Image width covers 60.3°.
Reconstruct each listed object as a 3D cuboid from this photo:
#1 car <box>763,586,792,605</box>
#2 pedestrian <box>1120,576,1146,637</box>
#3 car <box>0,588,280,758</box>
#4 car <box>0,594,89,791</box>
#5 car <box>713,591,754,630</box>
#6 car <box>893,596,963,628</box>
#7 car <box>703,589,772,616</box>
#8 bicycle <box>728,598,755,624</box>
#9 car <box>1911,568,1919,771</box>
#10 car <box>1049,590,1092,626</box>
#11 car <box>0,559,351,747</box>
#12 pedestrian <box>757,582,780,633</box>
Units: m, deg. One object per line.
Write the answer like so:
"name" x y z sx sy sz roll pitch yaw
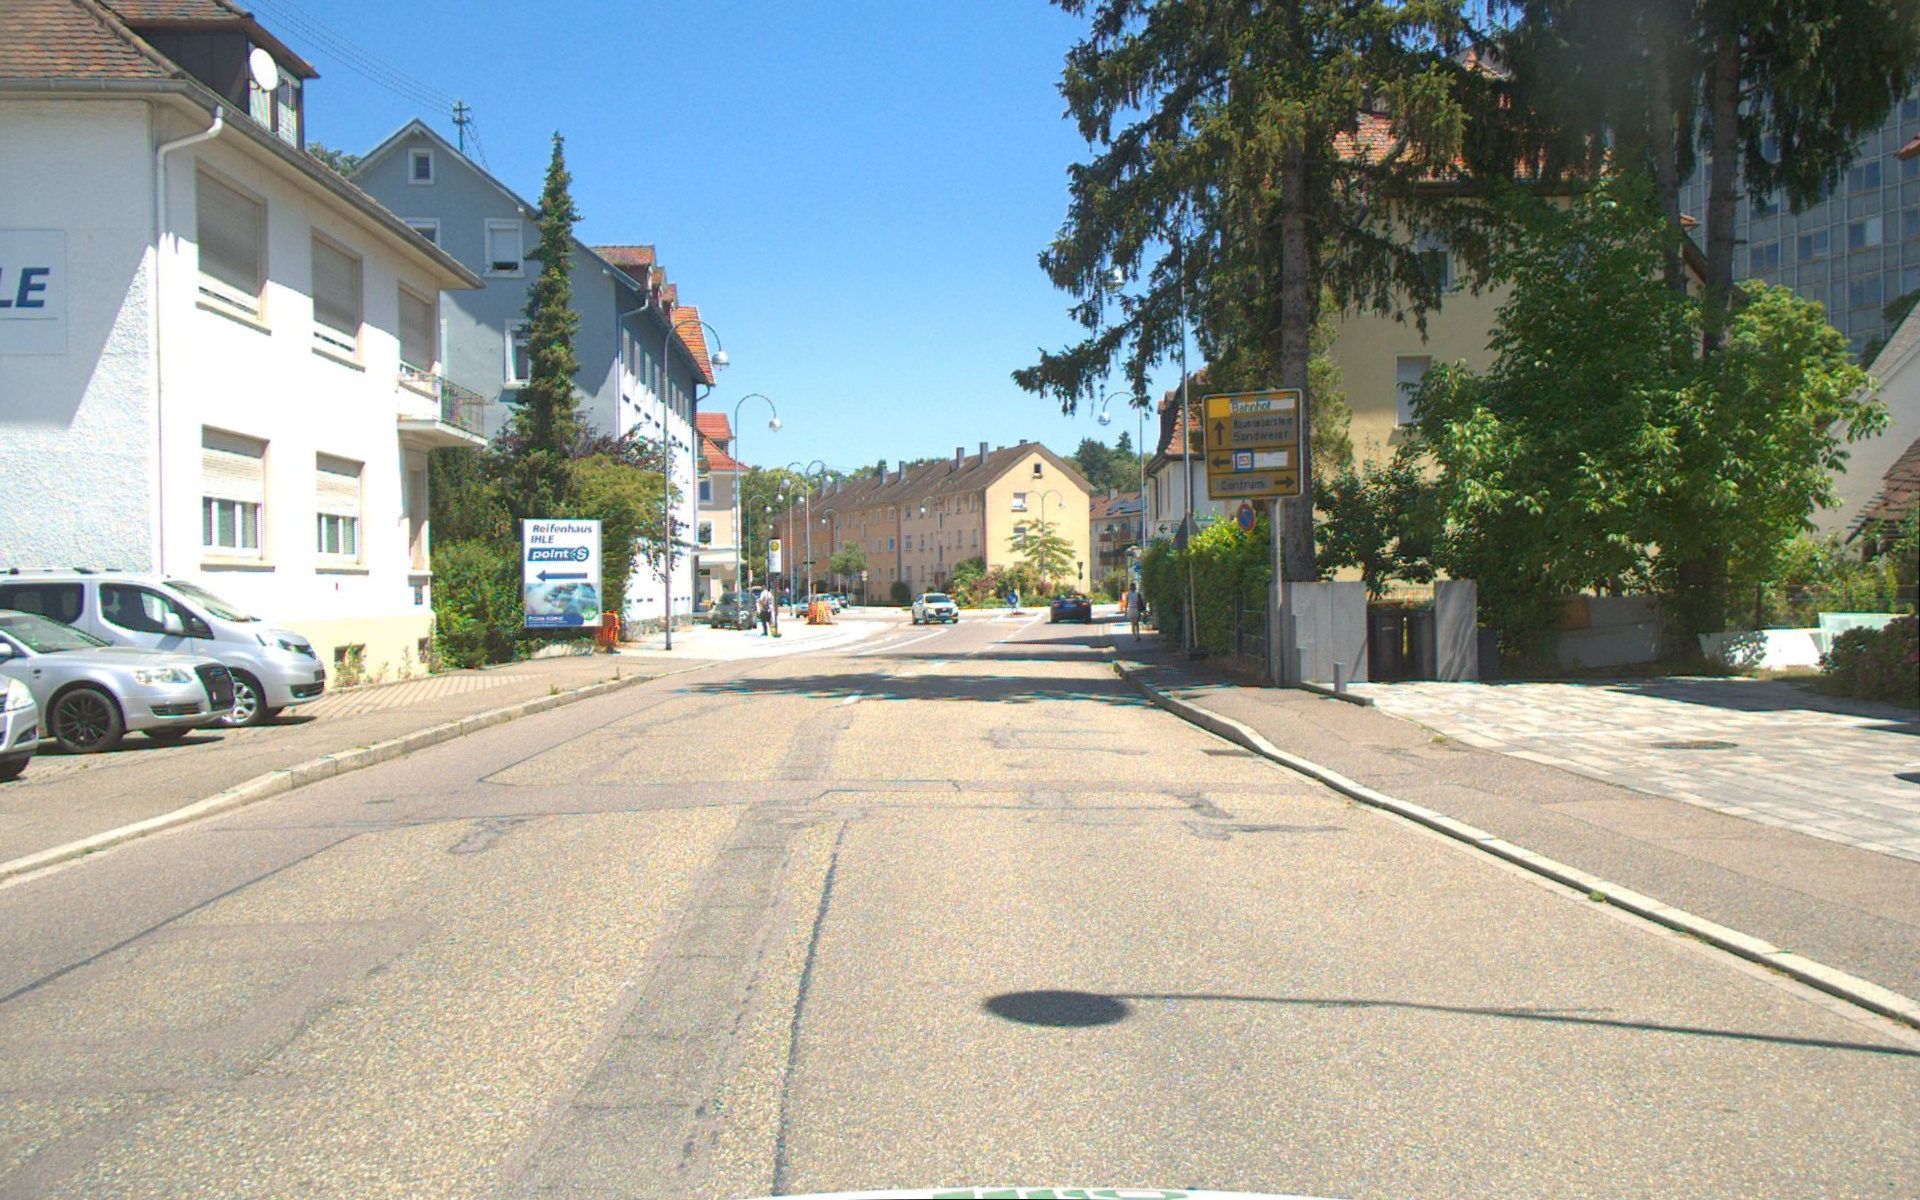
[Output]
"car" -18.213 -0.409 164.692 1.789 1.825 3.970 0 0 -24
"pedestrian" 4.881 0.185 46.704 0.610 1.672 0.772 -2 0 1
"car" -9.627 0.768 17.002 4.380 1.521 1.976 -3 1 0
"car" -9.501 0.831 13.922 4.182 1.521 1.873 -3 1 30
"car" -9.525 0.464 69.768 1.547 1.561 3.771 -1 -1 -5
"car" -1.694 0.622 85.307 1.805 1.557 3.903 0 -1 -34
"car" -13.142 0.153 97.873 4.037 1.578 1.784 0 0 -8
"bicycle" -8.695 0.418 65.776 0.485 0.994 1.974 3 0 9
"car" 9.117 0.488 11.858 3.544 1.557 1.777 -1 -1 0
"car" 5.067 0.408 76.428 1.832 1.557 4.508 -1 -1 2
"car" -9.654 0.599 19.451 4.271 1.909 1.847 -3 1 -9
"pedestrian" -7.077 0.276 61.152 0.740 1.880 0.771 2 0 -3
